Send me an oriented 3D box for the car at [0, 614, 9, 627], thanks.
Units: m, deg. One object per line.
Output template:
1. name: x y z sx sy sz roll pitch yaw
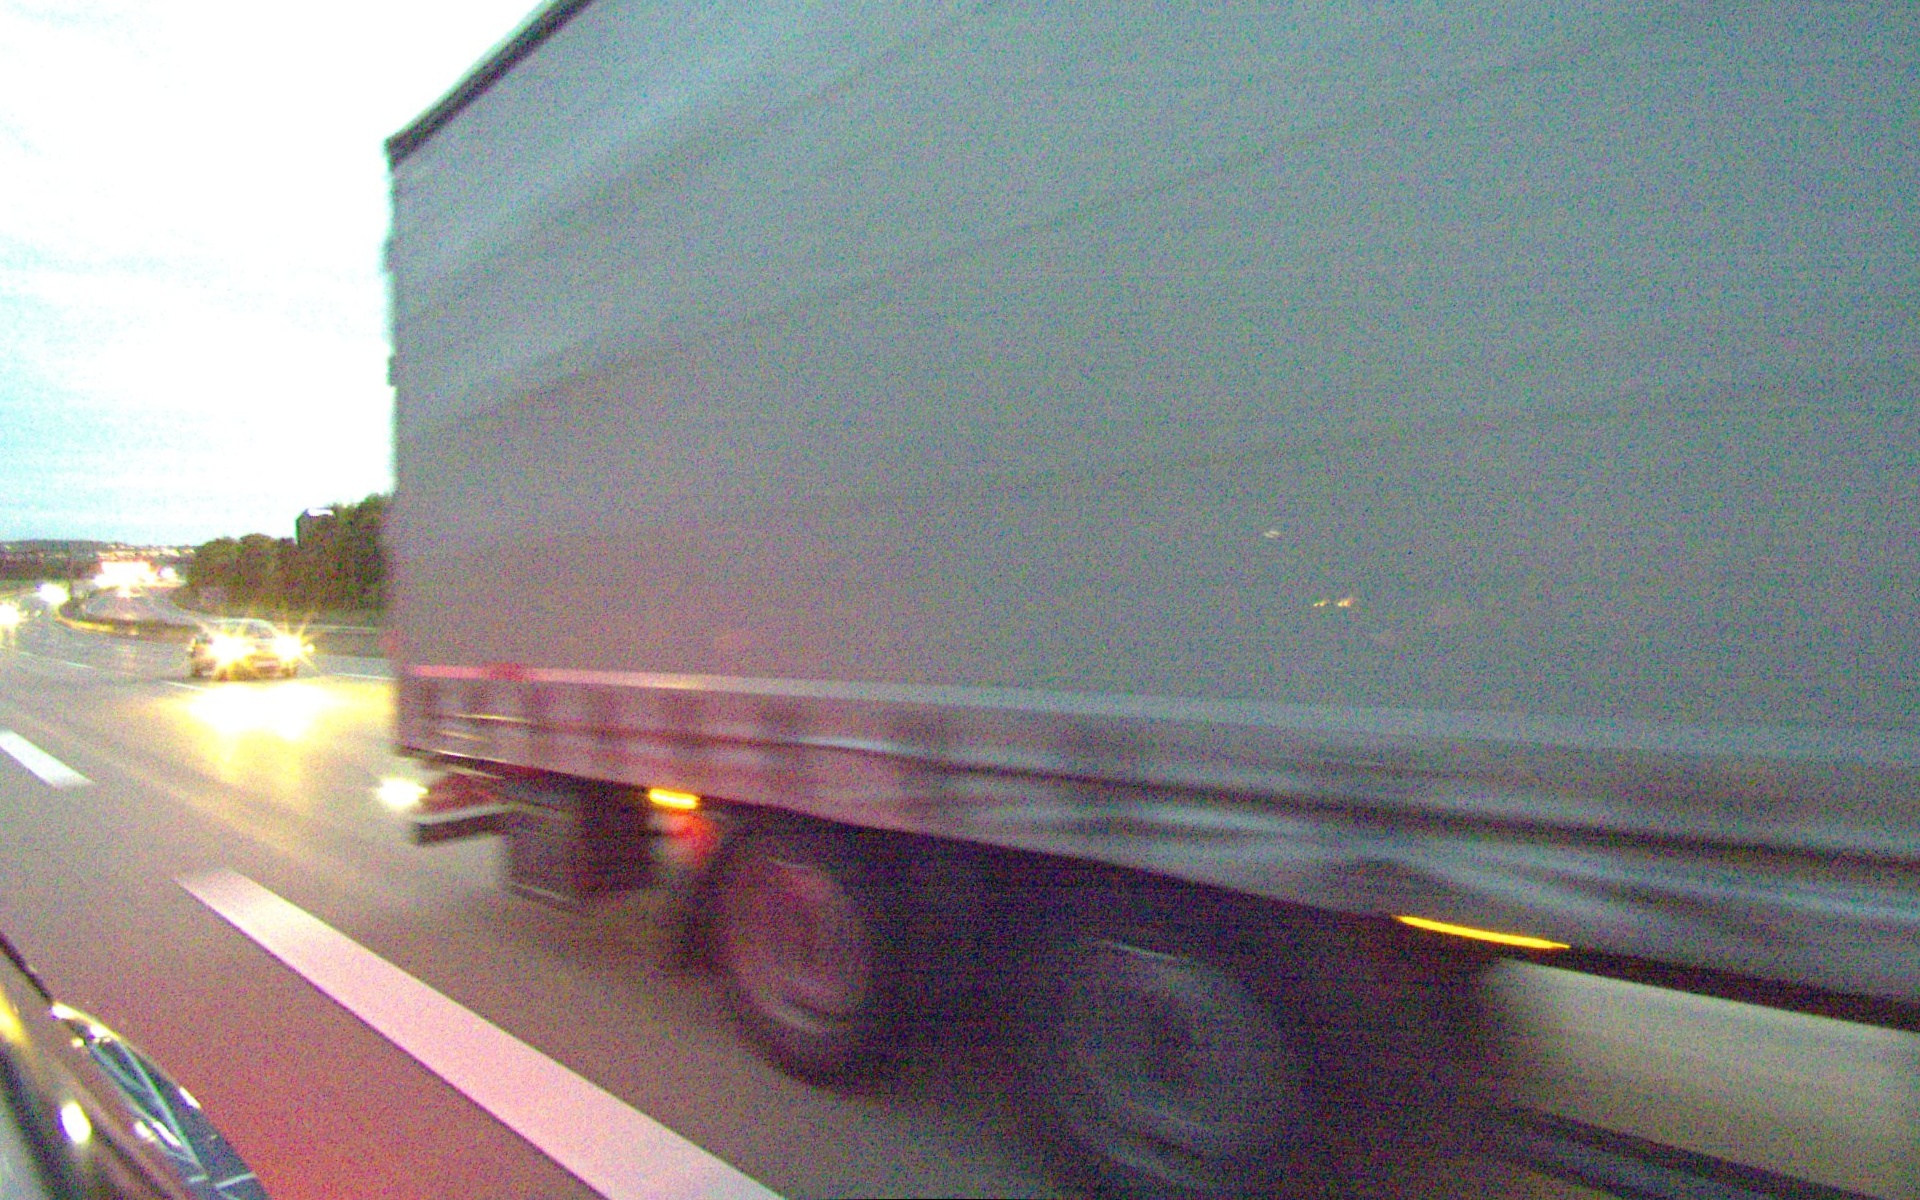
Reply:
1. car: -146.685 3.137 154.921 1.629 1.676 3.779 -2 3 -43

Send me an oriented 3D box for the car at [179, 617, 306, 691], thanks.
1. car: -17.966 1.279 25.287 3.998 1.490 1.695 2 3 41

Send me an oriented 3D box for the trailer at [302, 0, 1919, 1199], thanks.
1. trailer: 3.201 -0.739 1.984 15.054 4.147 3.513 -2 -1 41
